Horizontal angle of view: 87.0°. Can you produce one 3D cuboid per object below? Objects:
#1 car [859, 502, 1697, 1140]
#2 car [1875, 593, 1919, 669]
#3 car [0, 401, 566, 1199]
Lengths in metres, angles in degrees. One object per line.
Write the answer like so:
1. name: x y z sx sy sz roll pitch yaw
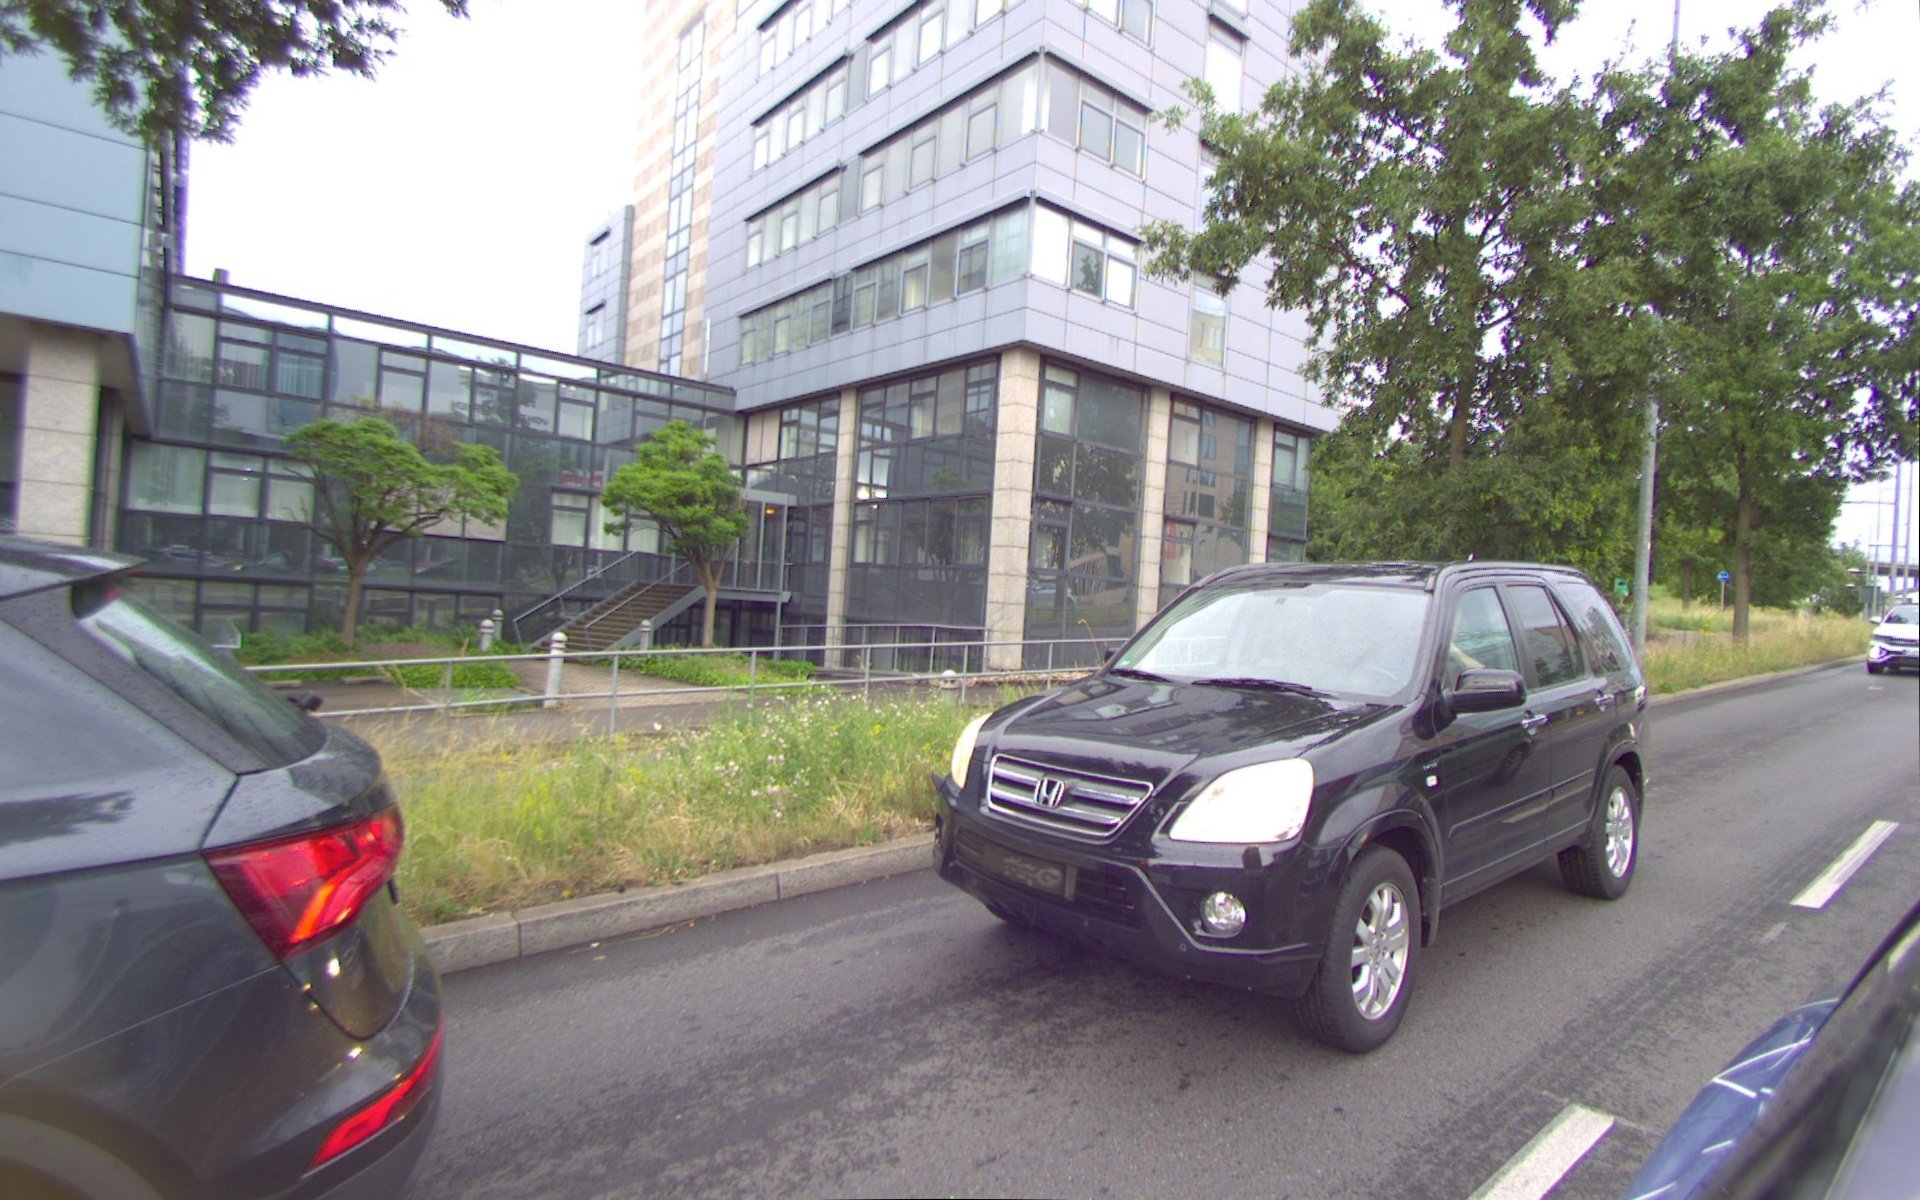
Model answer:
1. car: 1.784 0.561 4.728 4.262 1.679 1.758 0 1 -41
2. car: 20.811 0.633 21.297 3.700 1.522 1.827 0 1 -40
3. car: -2.934 0.544 1.003 4.392 1.633 1.821 0 1 -41
